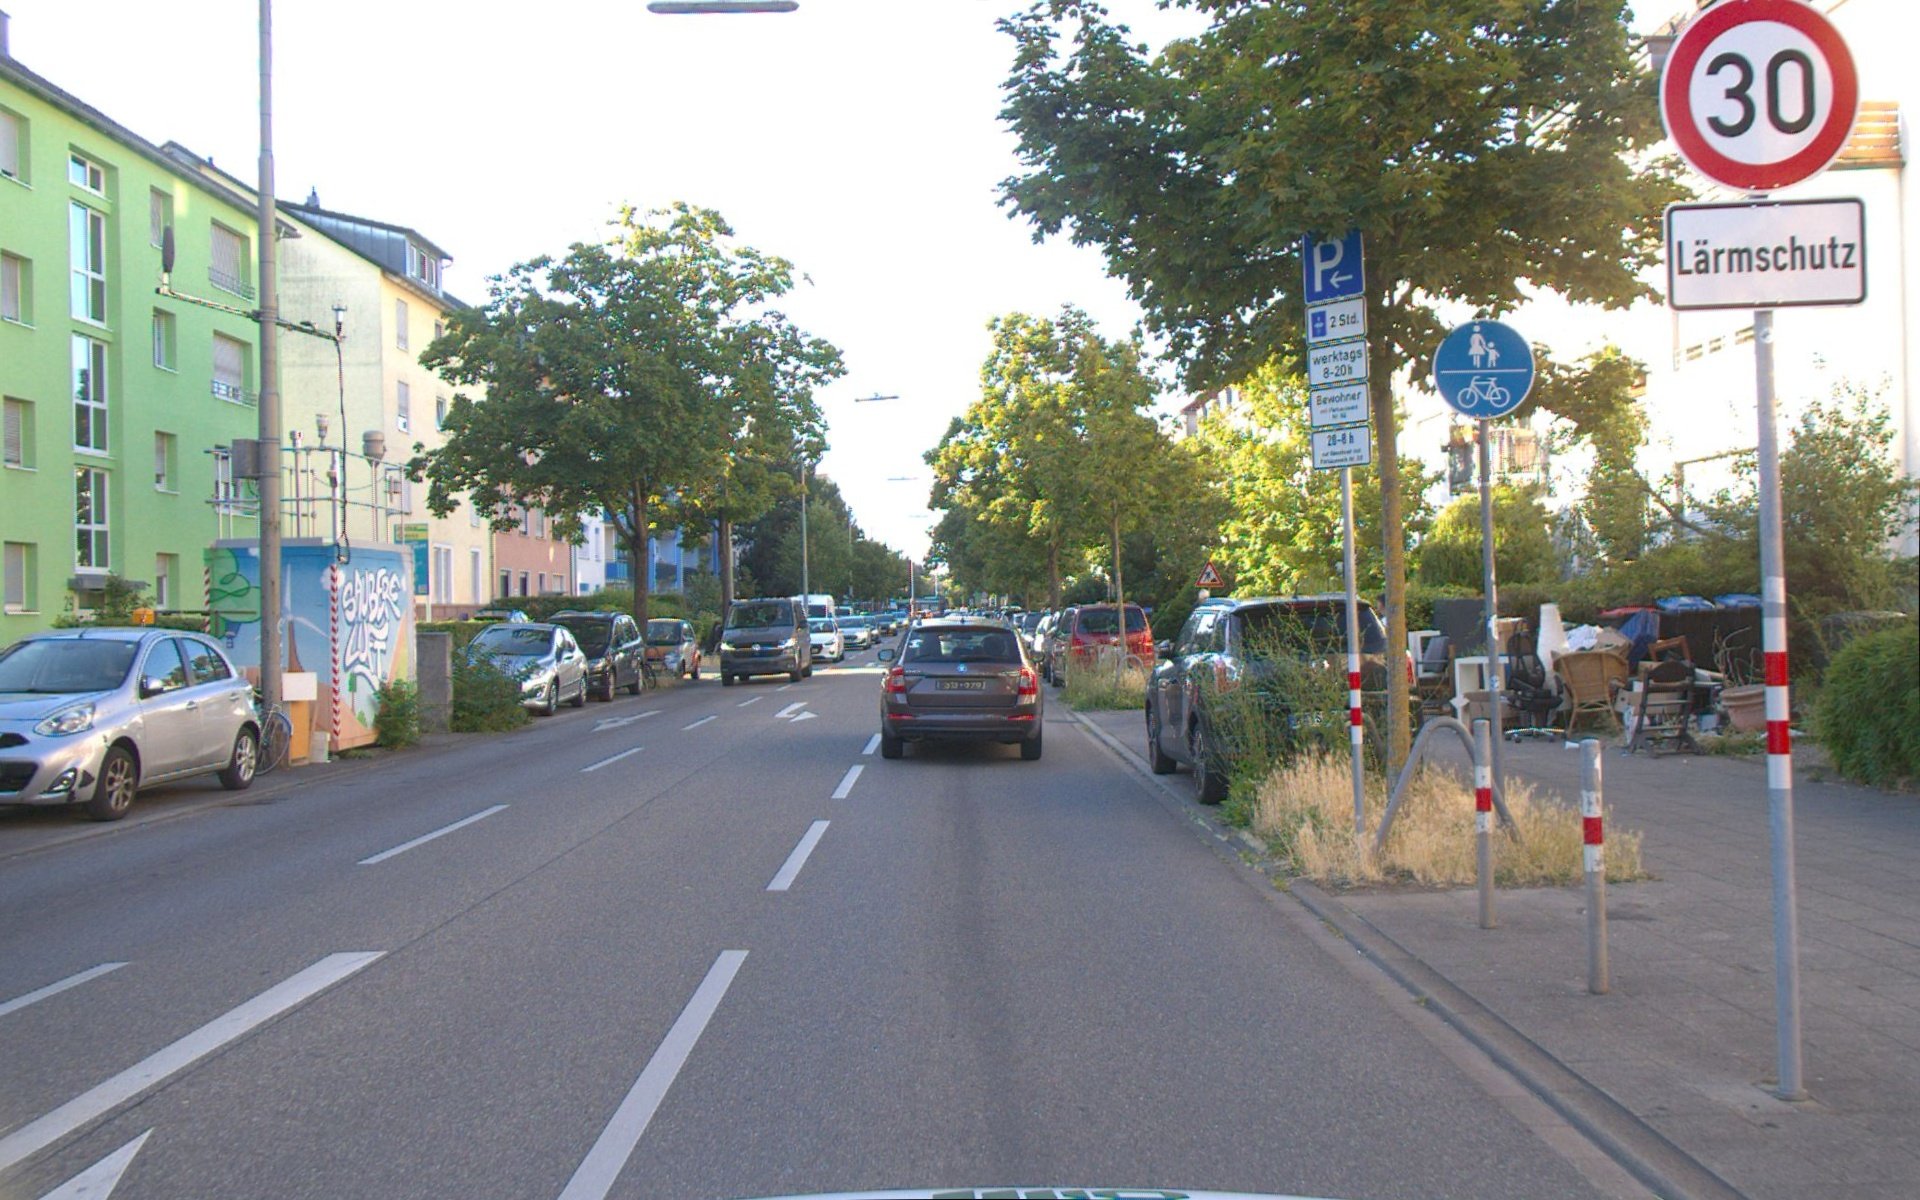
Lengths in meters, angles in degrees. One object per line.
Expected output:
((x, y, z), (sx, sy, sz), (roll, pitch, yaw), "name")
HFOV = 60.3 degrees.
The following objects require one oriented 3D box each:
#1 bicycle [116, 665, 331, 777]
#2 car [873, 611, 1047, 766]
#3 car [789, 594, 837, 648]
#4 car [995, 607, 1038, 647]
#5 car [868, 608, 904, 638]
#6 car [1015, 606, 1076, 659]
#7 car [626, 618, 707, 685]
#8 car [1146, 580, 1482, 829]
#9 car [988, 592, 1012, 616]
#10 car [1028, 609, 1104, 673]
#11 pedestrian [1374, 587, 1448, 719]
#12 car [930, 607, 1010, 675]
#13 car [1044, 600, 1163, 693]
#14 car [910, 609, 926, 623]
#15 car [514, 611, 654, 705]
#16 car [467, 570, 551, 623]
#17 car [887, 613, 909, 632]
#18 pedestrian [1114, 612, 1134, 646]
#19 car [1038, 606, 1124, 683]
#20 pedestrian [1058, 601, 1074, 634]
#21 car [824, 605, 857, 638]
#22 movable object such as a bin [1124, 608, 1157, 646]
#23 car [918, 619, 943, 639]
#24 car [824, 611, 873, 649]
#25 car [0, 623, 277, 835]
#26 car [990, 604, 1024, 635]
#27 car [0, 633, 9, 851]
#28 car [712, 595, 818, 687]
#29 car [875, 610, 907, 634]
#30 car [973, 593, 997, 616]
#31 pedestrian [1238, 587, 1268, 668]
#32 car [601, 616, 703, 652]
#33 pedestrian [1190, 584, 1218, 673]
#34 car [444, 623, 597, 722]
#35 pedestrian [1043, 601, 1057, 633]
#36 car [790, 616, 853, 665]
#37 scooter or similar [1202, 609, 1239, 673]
((-7.691, 1.257, 17.317), (1.964, 1.108, 0.583), (1, -1, 0), "bicycle")
((0.046, 0.891, 18.348), (1.718, 1.518, 4.000), (0, 0, 1), "car")
((-7.596, 1.054, 85.830), (1.953, 2.662, 7.103), (0, 0, -1), "car")
((2.448, 1.168, 72.761), (1.683, 1.629, 4.095), (-1, 0, -1), "car")
((-3.766, 1.164, 84.820), (1.665, 1.428, 4.027), (-3, 0, -1), "car")
((2.799, 1.037, 55.162), (1.836, 1.608, 4.821), (-3, 0, 1), "car")
((-7.595, 1.302, 43.011), (1.468, 1.645, 2.862), (-1, -1, 3), "car")
((2.678, 0.735, 13.475), (1.756, 1.660, 4.028), (-2, 0, -1), "car")
((2.937, 0.305, 122.299), (1.718, 1.716, 4.252), (0, 0, 1), "car")
((2.701, 1.022, 42.936), (1.603, 1.516, 4.414), (-2, 0, -1), "car")
((5.596, 0.650, 20.555), (0.547, 1.595, 0.744), (-1, -1, -18), "pedestrian")
((0.214, 1.017, 41.256), (1.853, 1.533, 3.788), (2, -2, -1), "car")
((2.760, 0.874, 32.738), (1.687, 1.685, 4.594), (-1, 0, -3), "car")
((-5.741, 2.171, 225.760), (1.955, 1.780, 3.995), (-1, 0, -6), "car")
((-7.592, 1.122, 33.847), (1.747, 1.763, 4.617), (-1, 0, 0), "car")
((-15.264, -0.082, 56.192), (1.790, 1.712, 3.999), (-1, -1, -1), "car")
((-5.345, 1.951, 142.267), (1.842, 1.570, 4.264), (-1, 0, -3), "car")
((6.149, 1.093, 61.995), (0.659, 1.256, 0.790), (-1, -1, 0), "pedestrian")
((2.697, 0.973, 37.547), (1.603, 1.596, 4.000), (-2, 0, 0), "car")
((6.352, 1.049, 99.456), (0.781, 1.893, 0.951), (-2, -1, 10), "pedestrian")
((-7.837, 1.398, 108.978), (1.831, 2.067, 5.299), (0, 0, -1), "car")
((7.532, 1.117, 68.966), (1.240, 1.518, 1.140), (-4, -1, 9), "movable object such as a bin")
((-2.311, 2.207, 128.553), (1.745, 1.506, 3.968), (0, 0, -3), "car")
((-4.879, 1.288, 72.835), (1.795, 1.496, 4.450), (-4, 0, -1), "car")
((-7.506, 1.015, 14.437), (1.604, 1.579, 3.784), (-1, -1, -2), "car")
((2.797, 1.157, 99.346), (1.764, 1.840, 4.421), (0, 0, -2), "car")
((-7.483, 0.985, 9.564), (1.619, 1.505, 3.943), (-1, 0, 1), "car")
((-4.658, 0.961, 40.153), (1.953, 1.980, 4.776), (-3, 0, -1), "car")
((-4.531, 1.428, 108.881), (1.665, 1.496, 4.295), (-2, 0, 2), "car")
((2.127, 0.407, 138.563), (1.877, 1.893, 5.633), (-1, 0, 1), "car")
((6.306, 0.597, 35.628), (0.500, 1.726, 0.526), (-1, -1, -5), "pedestrian")
((-13.034, 1.446, 70.138), (3.905, 1.437, 1.916), (1, 0, 0), "car")
((5.207, 0.605, 35.349), (0.537, 1.882, 0.765), (-1, -1, 6), "pedestrian")
((-7.575, 1.202, 28.878), (1.648, 1.548, 4.189), (-1, 0, -2), "car")
((5.429, 1.032, 99.639), (0.733, 1.893, 1.068), (-2, -1, -1), "pedestrian")
((-4.589, 1.319, 55.150), (1.779, 1.471, 4.109), (-4, 0, -2), "car")
((5.557, 0.865, 35.307), (0.730, 1.340, 0.721), (-1, -1, 6), "scooter or similar")
